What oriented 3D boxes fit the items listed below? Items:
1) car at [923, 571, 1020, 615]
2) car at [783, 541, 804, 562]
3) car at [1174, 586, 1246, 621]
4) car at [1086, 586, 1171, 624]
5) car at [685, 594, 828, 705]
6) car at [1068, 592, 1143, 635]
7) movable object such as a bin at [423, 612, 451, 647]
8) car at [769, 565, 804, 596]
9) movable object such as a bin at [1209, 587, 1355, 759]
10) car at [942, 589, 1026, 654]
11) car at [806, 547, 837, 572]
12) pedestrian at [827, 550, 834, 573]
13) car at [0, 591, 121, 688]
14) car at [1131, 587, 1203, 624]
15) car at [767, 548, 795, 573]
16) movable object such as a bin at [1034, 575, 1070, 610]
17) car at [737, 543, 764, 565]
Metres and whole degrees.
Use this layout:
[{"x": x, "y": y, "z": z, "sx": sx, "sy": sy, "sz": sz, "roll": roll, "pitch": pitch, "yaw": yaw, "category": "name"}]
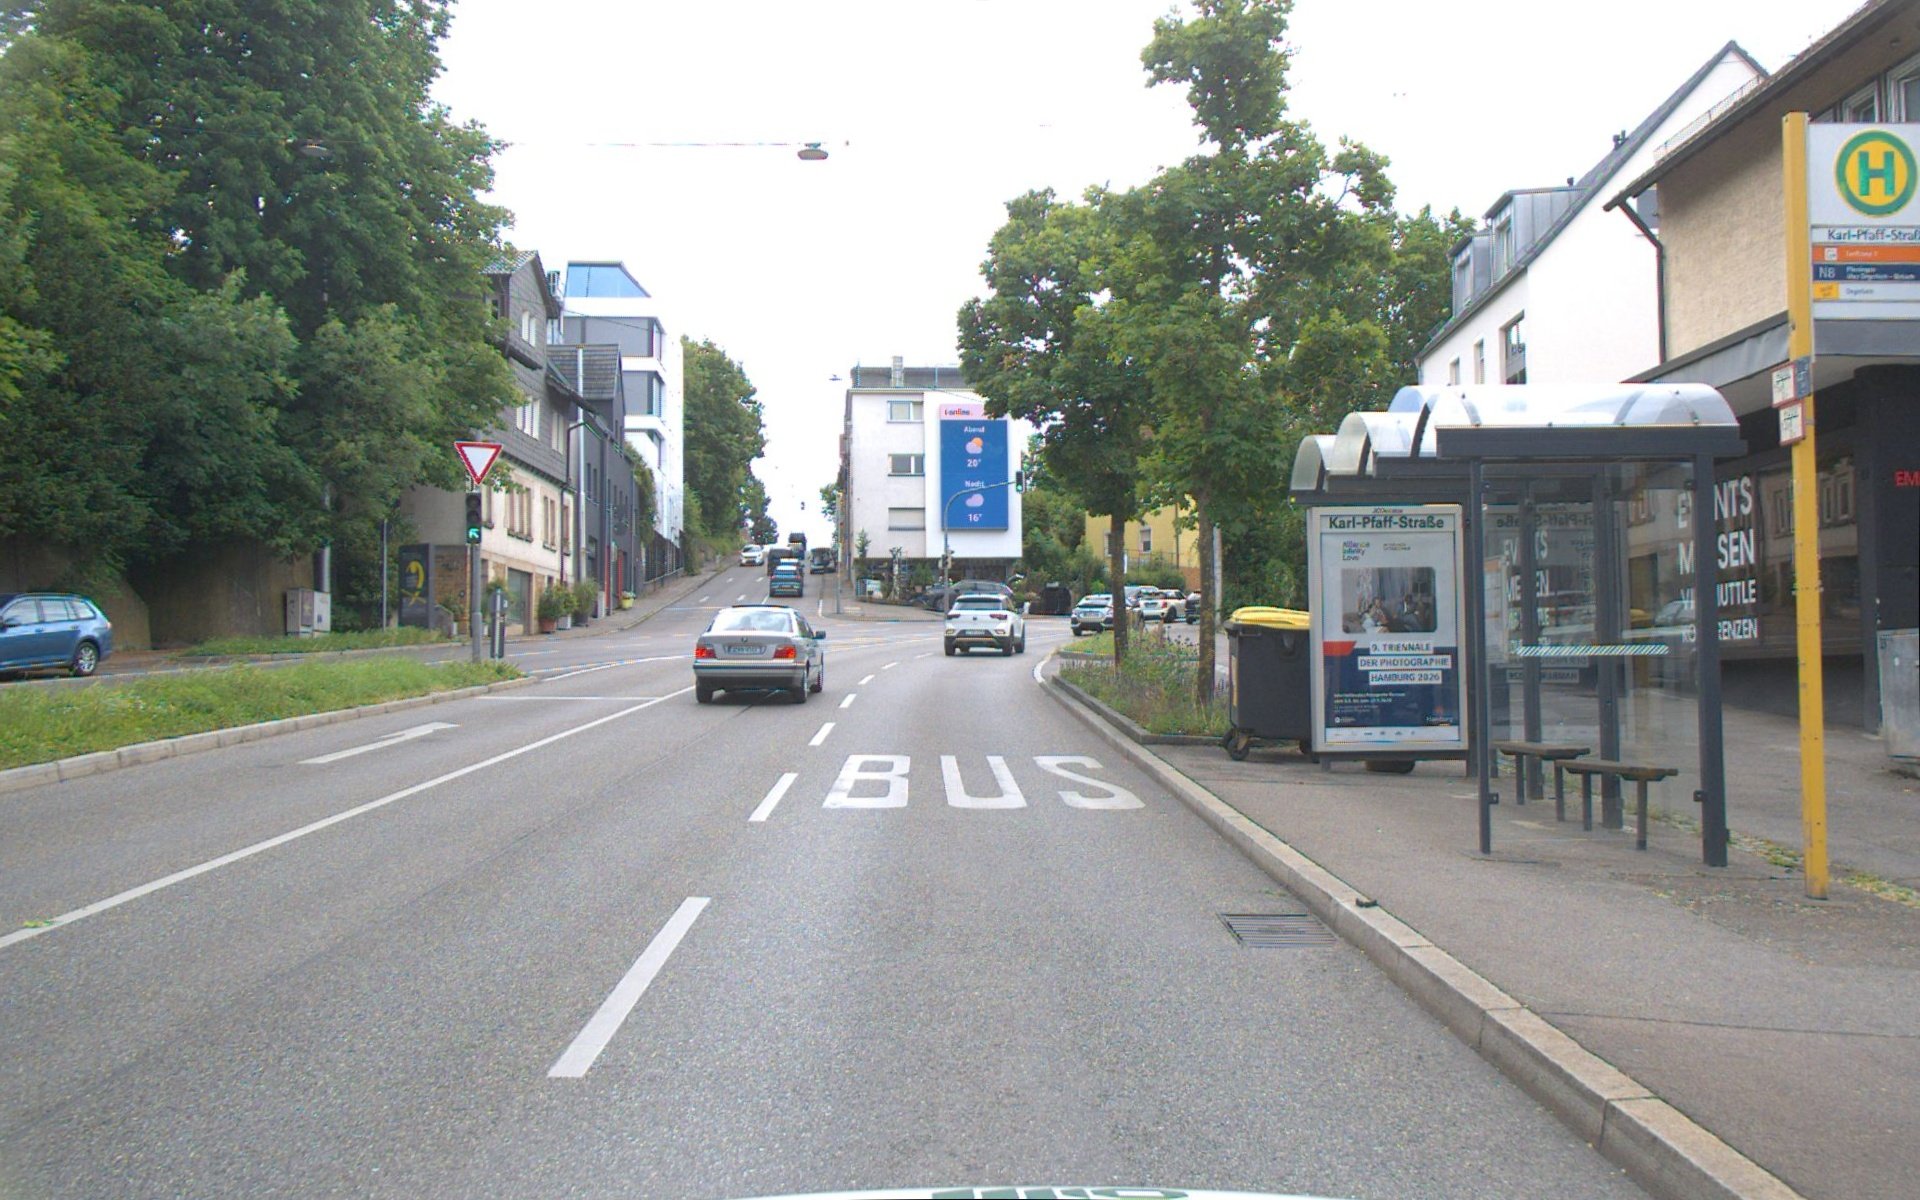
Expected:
[{"x": 0.542, "y": -0.359, "z": 82.710, "sx": 4.597, "sy": 1.741, "sz": 2.317, "roll": 4, "pitch": 3, "yaw": -5, "category": "car"}, {"x": -14.490, "y": -4.220, "z": 144.384, "sx": 1.745, "sy": 1.607, "sz": 3.996, "roll": 0, "pitch": 0, "yaw": -4, "category": "car"}, {"x": 10.735, "y": 0.120, "z": 70.776, "sx": 1.761, "sy": 1.434, "sz": 3.993, "roll": 1, "pitch": 1, "yaw": 30, "category": "car"}, {"x": 7.981, "y": 0.223, "z": 78.120, "sx": 1.867, "sy": 1.725, "sz": 4.324, "roll": -1, "pitch": 0, "yaw": 40, "category": "car"}, {"x": -3.008, "y": 0.690, "z": 25.150, "sx": 1.671, "sy": 1.489, "sz": 4.000, "roll": 1, "pitch": 1, "yaw": 0, "category": "car"}, {"x": 5.287, "y": 0.461, "z": 59.794, "sx": 1.743, "sy": 1.434, "sz": 4.001, "roll": 1, "pitch": 1, "yaw": 20, "category": "car"}, {"x": -15.711, "y": 0.890, "z": 49.702, "sx": 0.526, "sy": 1.037, "sz": 0.647, "roll": 0, "pitch": -2, "yaw": 12, "category": "movable object such as a bin"}, {"x": -9.324, "y": -1.045, "z": 89.309, "sx": 1.745, "sy": 1.606, "sz": 3.997, "roll": 1, "pitch": 1, "yaw": -4, "category": "car"}, {"x": 2.952, "y": 0.638, "z": 15.341, "sx": 1.063, "sy": 1.507, "sz": 1.537, "roll": 0, "pitch": 0, "yaw": 0, "category": "movable object such as a bin"}, {"x": 0.674, "y": 0.535, "z": 43.447, "sx": 1.742, "sy": 1.606, "sz": 4.003, "roll": 0, "pitch": 1, "yaw": 7, "category": "car"}, {"x": -9.767, "y": -2.860, "z": 117.072, "sx": 2.048, "sy": 1.641, "sz": 3.997, "roll": 0, "pitch": 0, "yaw": -3, "category": "car"}, {"x": -9.035, "y": -2.680, "z": 115.672, "sx": 0.449, "sy": 1.556, "sz": 0.527, "roll": 0, "pitch": -1, "yaw": -3, "category": "pedestrian"}, {"x": -16.501, "y": 0.646, "z": 28.307, "sx": 1.675, "sy": 1.555, "sz": 4.305, "roll": 1, "pitch": 1, "yaw": 7, "category": "car"}, {"x": 9.207, "y": 0.218, "z": 73.389, "sx": 1.747, "sy": 1.606, "sz": 3.992, "roll": 0, "pitch": 1, "yaw": 31, "category": "car"}, {"x": -12.346, "y": -2.711, "z": 114.102, "sx": 1.745, "sy": 1.606, "sz": 3.996, "roll": -2, "pitch": 0, "yaw": -4, "category": "car"}, {"x": 4.877, "y": -0.395, "z": 87.507, "sx": 1.725, "sy": 1.810, "sz": 1.856, "roll": 0, "pitch": 0, "yaw": 8, "category": "movable object such as a bin"}, {"x": -16.441, "y": -3.609, "z": 130.032, "sx": 1.846, "sy": 1.594, "sz": 4.386, "roll": -1, "pitch": 3, "yaw": -5, "category": "car"}]
